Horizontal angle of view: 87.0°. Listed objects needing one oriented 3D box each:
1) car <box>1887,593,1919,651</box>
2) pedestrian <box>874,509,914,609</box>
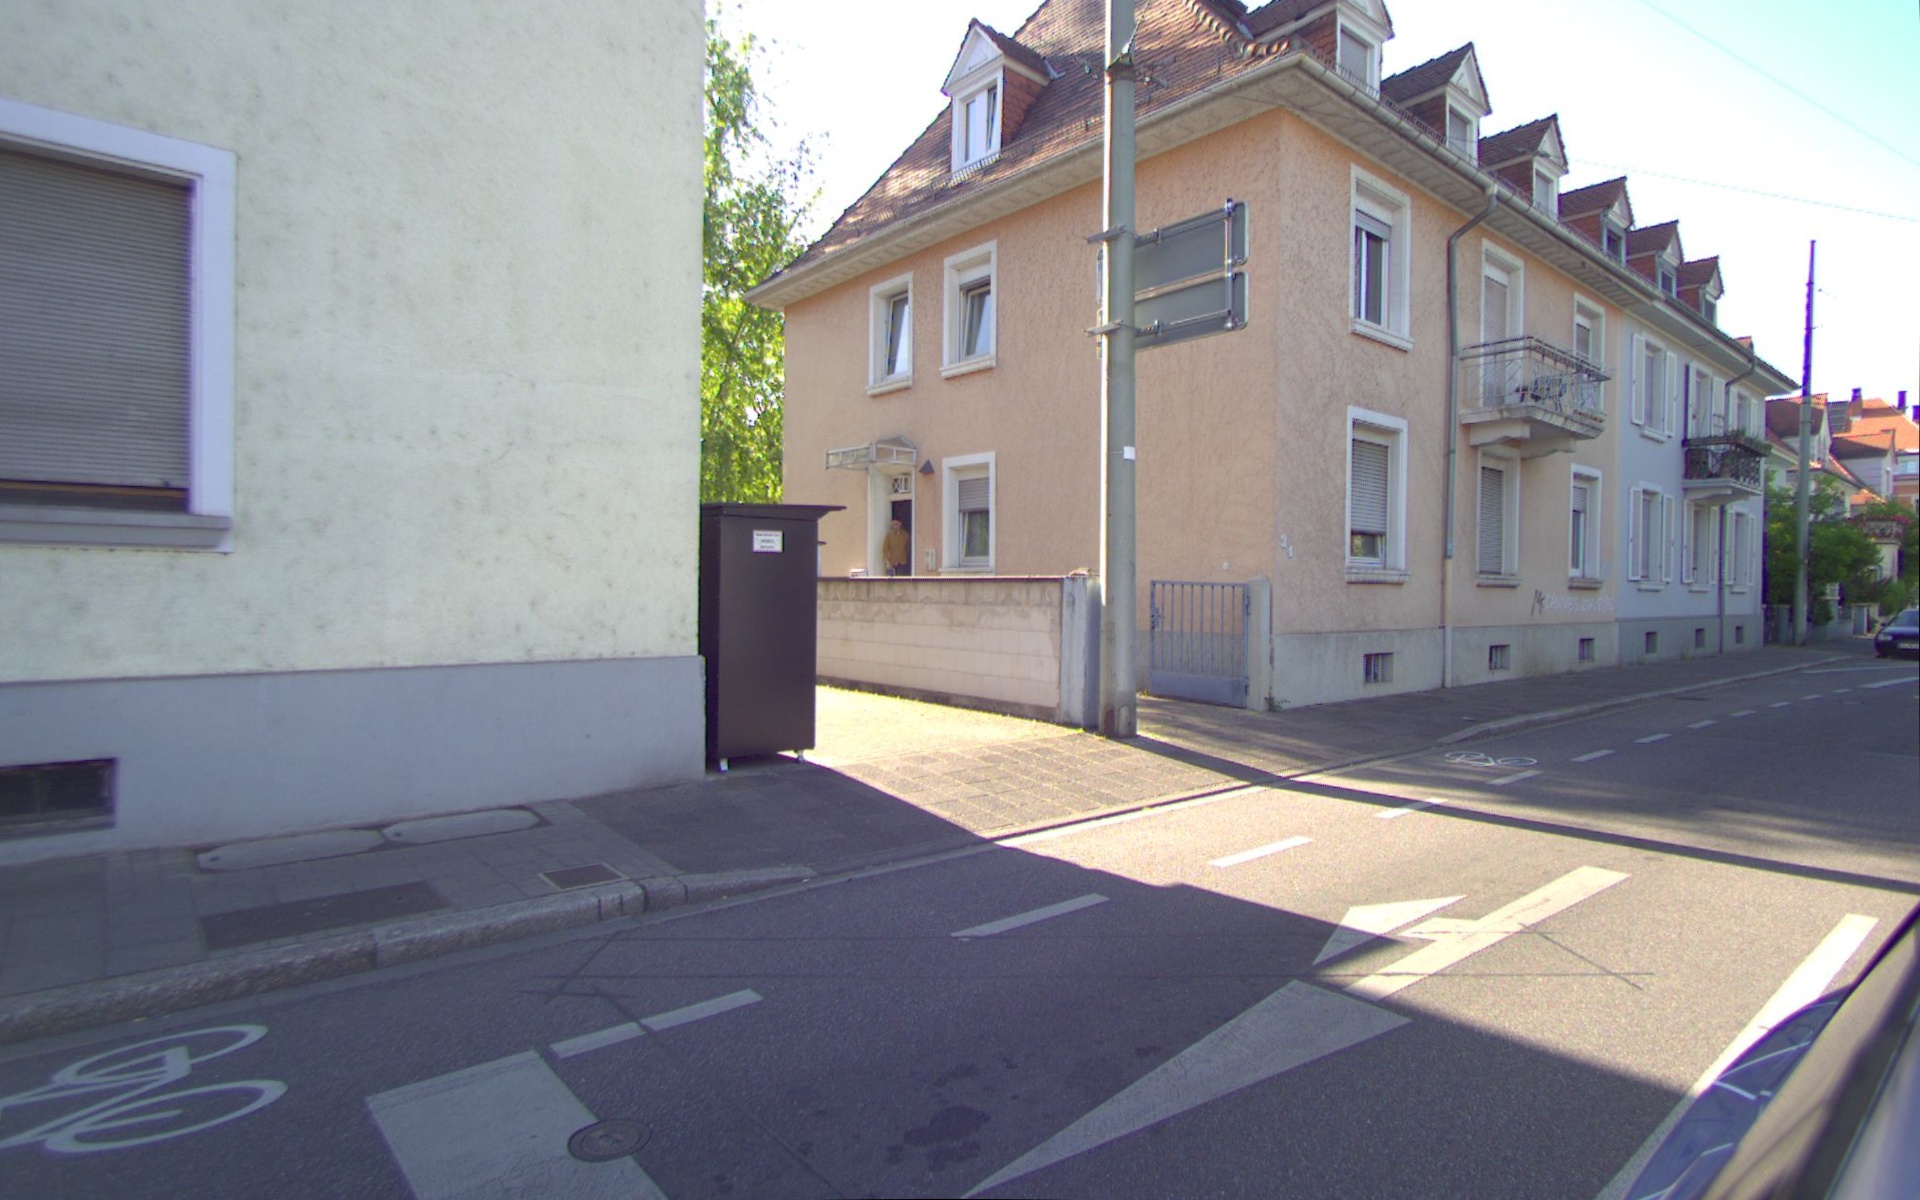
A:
[{"bbox_3d":[26.845,0.586,27.388,3.925,1.504,1.883,0,1,-37],"label":"car"},{"bbox_3d":[-1.193,-0.744,18.337,0.594,1.783,0.484,1,0,17],"label":"pedestrian"}]
